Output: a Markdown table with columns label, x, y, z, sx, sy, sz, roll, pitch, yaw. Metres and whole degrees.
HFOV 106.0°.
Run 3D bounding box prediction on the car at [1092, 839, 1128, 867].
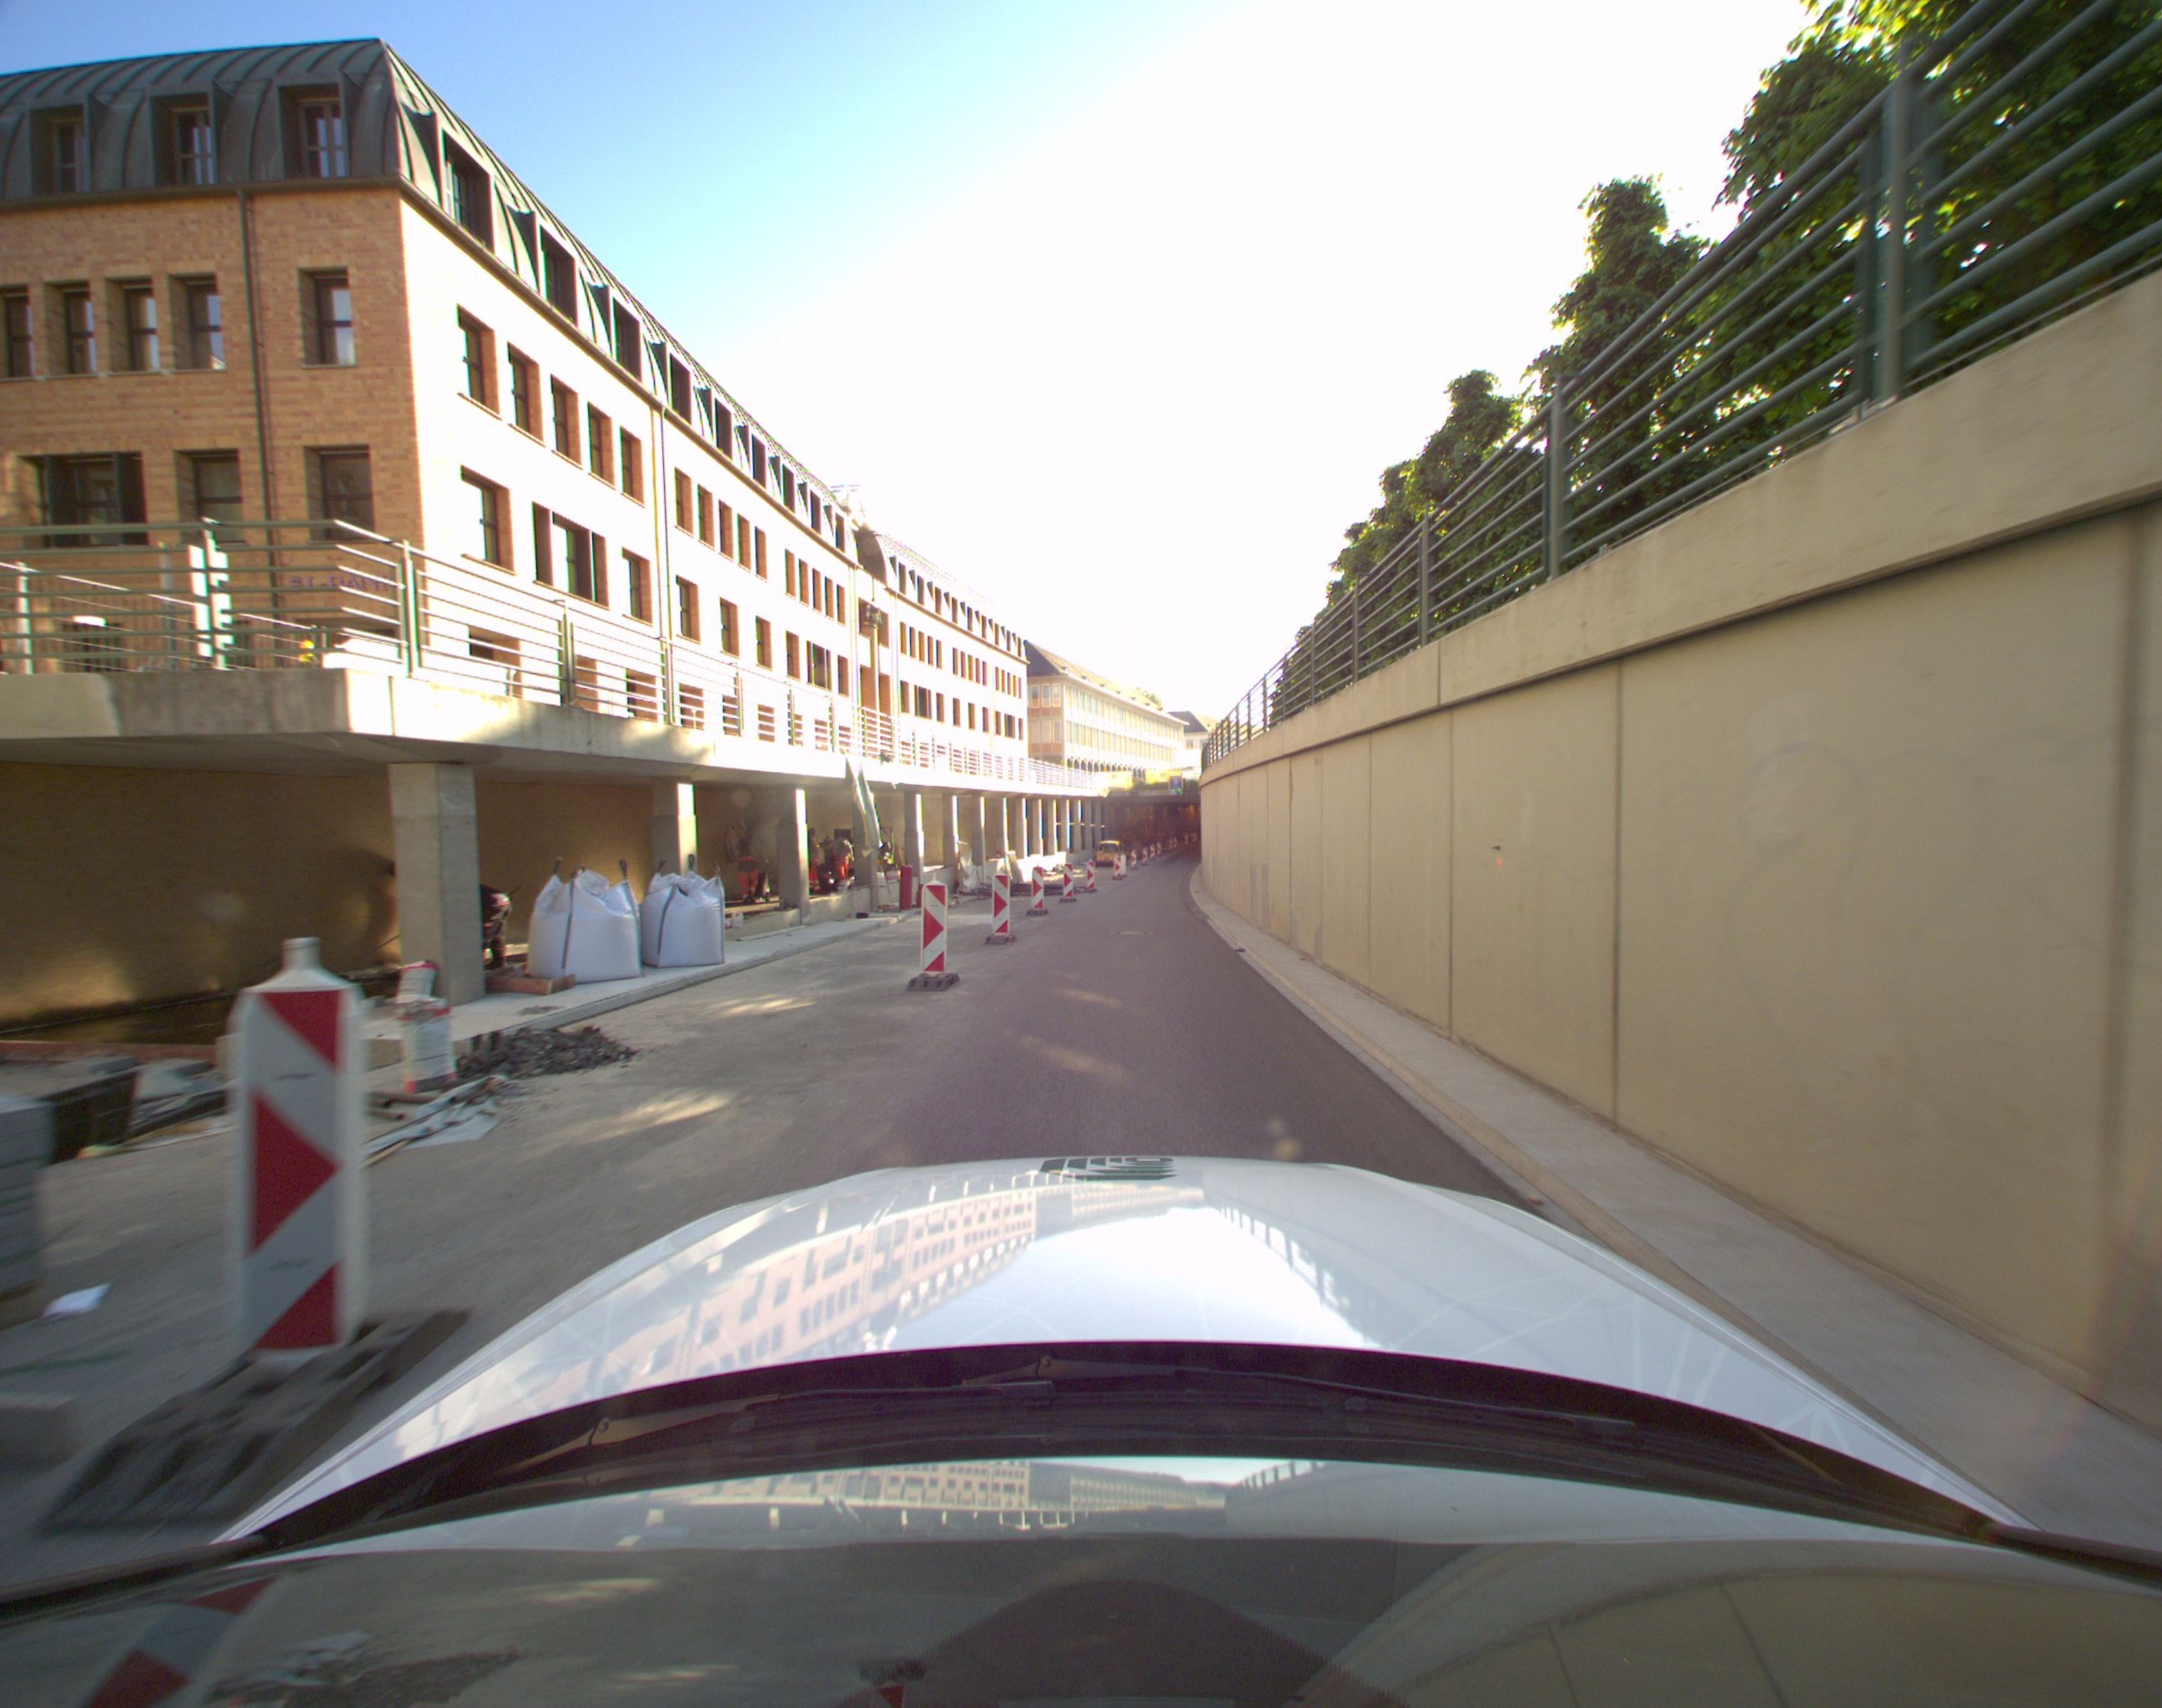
| label | x | y | z | sx | sy | sz | roll | pitch | yaw |
| --- | --- | --- | --- | --- | --- | --- | --- | --- | --- |
| car | 2.081 | -0.099 | 57.242 | 1.836 | 1.775 | 4.449 | 0 | 3 | 11 |

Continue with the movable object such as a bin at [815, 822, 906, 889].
| label | x | y | z | sx | sy | sz | roll | pitch | yaw |
| --- | --- | --- | --- | --- | --- | --- | --- | --- | --- |
| movable object such as a bin | -6.878 | 0.029 | 25.744 | 1.877 | 1.987 | 3.161 | 0 | 1 | 3 |

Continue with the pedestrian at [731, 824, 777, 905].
| label | x | y | z | sx | sy | sz | roll | pitch | yaw |
| --- | --- | --- | --- | --- | --- | --- | --- | --- | --- |
| pedestrian | -8.076 | 0.245 | 20.119 | 0.674 | 1.957 | 0.938 | 1 | 0 | 5 |

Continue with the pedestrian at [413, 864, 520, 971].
| label | x | y | z | sx | sy | sz | roll | pitch | yaw |
| --- | --- | --- | --- | --- | --- | --- | --- | --- | --- |
| pedestrian | -8.472 | 0.852 | 11.267 | 0.870 | 1.398 | 0.782 | -1 | 0 | -4 |

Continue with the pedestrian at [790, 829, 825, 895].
| label | x | y | z | sx | sy | sz | roll | pitch | yaw |
| --- | --- | --- | --- | --- | --- | --- | --- | --- | --- |
| pedestrian | -7.650 | 0.212 | 22.780 | 0.701 | 1.814 | 0.710 | 1 | 0 | 3 |

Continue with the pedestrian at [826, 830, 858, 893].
| label | x | y | z | sx | sy | sz | roll | pitch | yaw |
| --- | --- | --- | --- | --- | --- | --- | --- | --- | --- |
| pedestrian | -6.919 | 0.209 | 23.616 | 0.652 | 1.805 | 0.627 | 1 | 0 | 13 |

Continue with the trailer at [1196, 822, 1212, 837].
| label | x | y | z | sx | sy | sz | roll | pitch | yaw |
| --- | --- | --- | --- | --- | --- | --- | --- | --- | --- |
| trailer | 16.072 | -3.200 | 106.303 | 1.568 | 1.797 | 2.954 | 1 | 3 | 17 |

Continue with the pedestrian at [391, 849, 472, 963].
| label | x | y | z | sx | sy | sz | roll | pitch | yaw |
| --- | --- | --- | --- | --- | --- | --- | --- | --- | --- |
| pedestrian | -9.332 | 0.723 | 11.720 | 0.648 | 1.579 | 0.630 | -1 | 0 | -5 |
